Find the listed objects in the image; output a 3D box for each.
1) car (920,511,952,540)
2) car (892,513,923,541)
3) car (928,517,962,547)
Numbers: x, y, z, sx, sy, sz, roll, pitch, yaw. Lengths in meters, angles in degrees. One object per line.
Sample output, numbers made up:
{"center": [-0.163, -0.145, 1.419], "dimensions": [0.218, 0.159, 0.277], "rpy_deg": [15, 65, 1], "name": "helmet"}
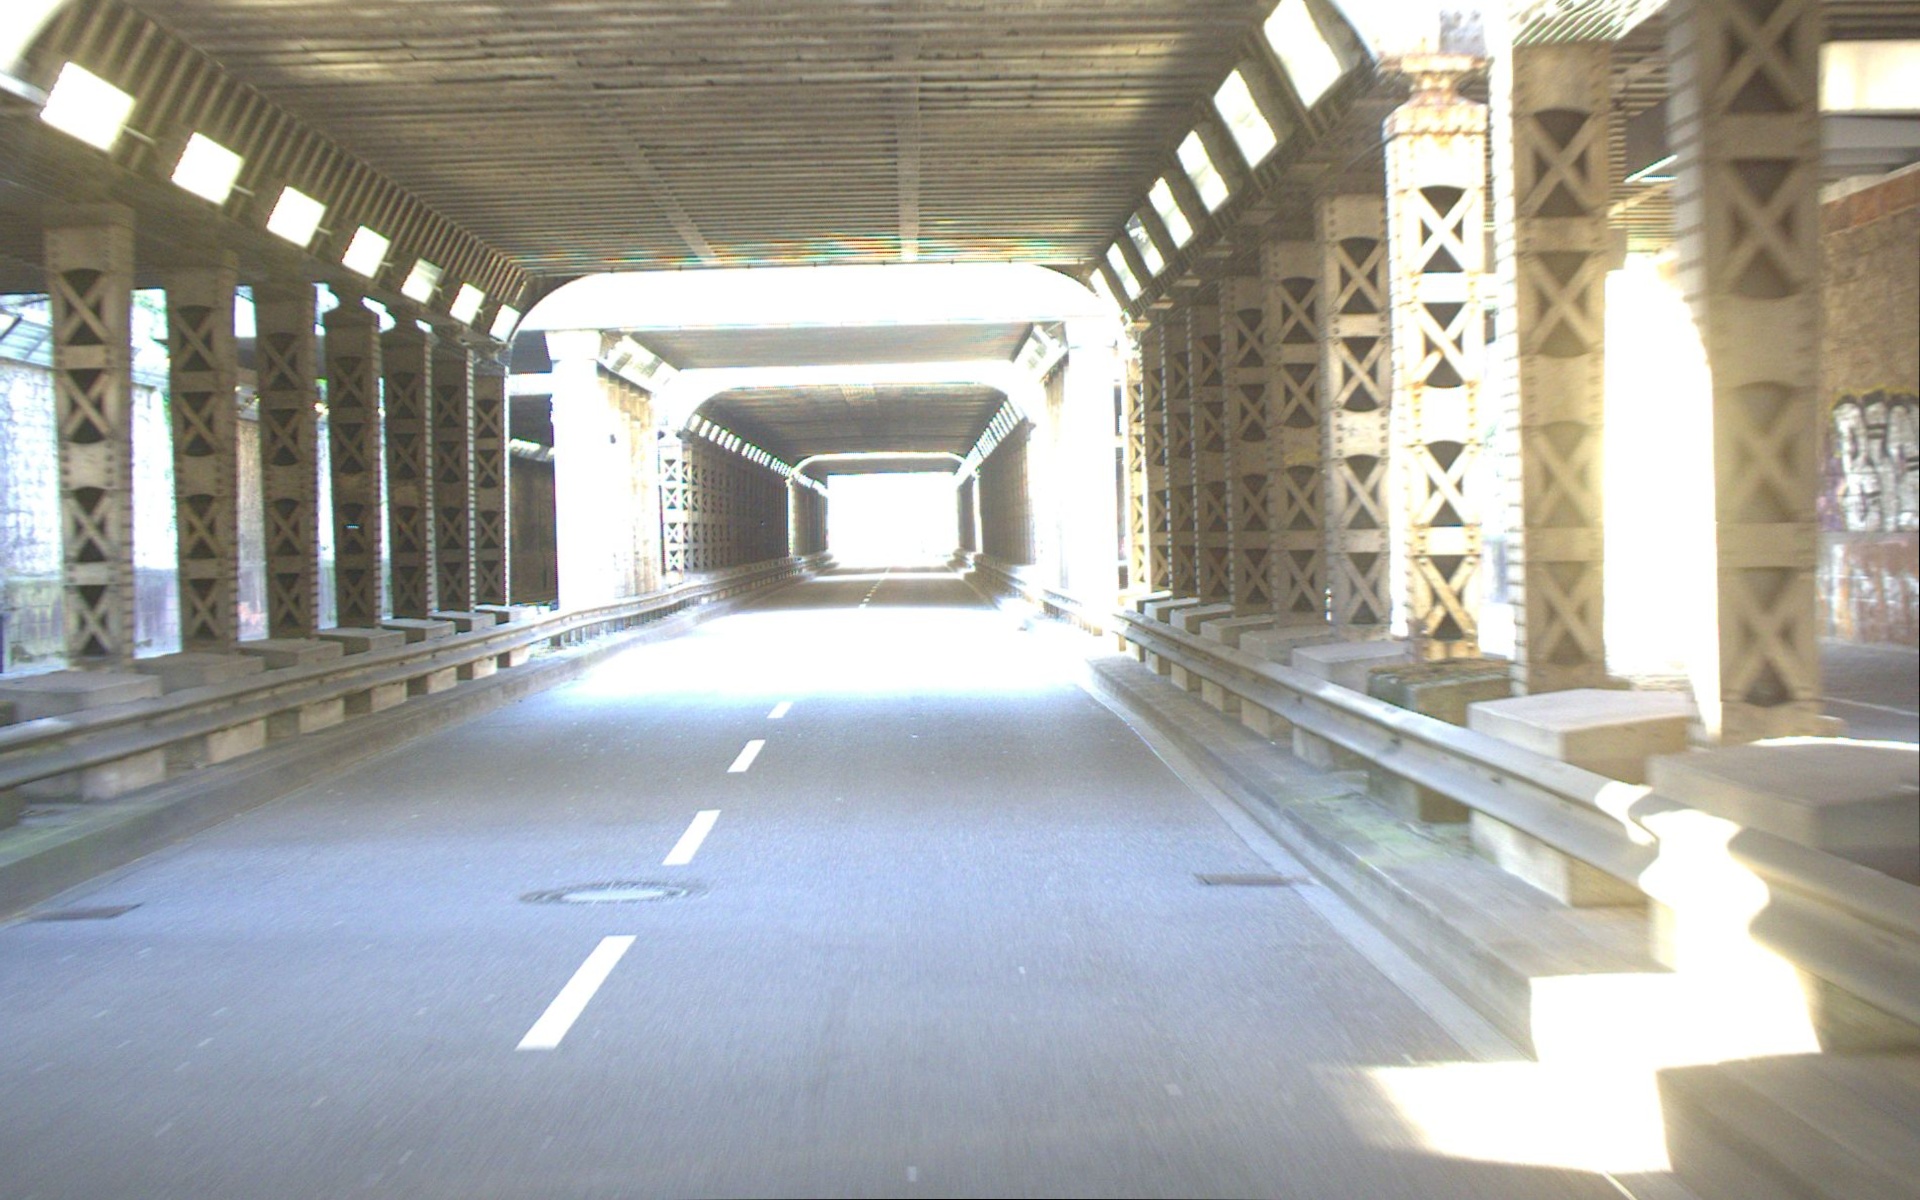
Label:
{"center": [-1.553, -4.757, 219.718], "dimensions": [1.993, 1.778, 4.000], "rpy_deg": [-2, 1, -1], "name": "car"}
{"center": [-3.459, -4.824, 226.111], "dimensions": [1.993, 1.778, 4.000], "rpy_deg": [-2, 1, -1], "name": "car"}
{"center": [-0.939, -4.170, 210.605], "dimensions": [1.993, 1.778, 4.000], "rpy_deg": [-2, 1, -1], "name": "car"}
